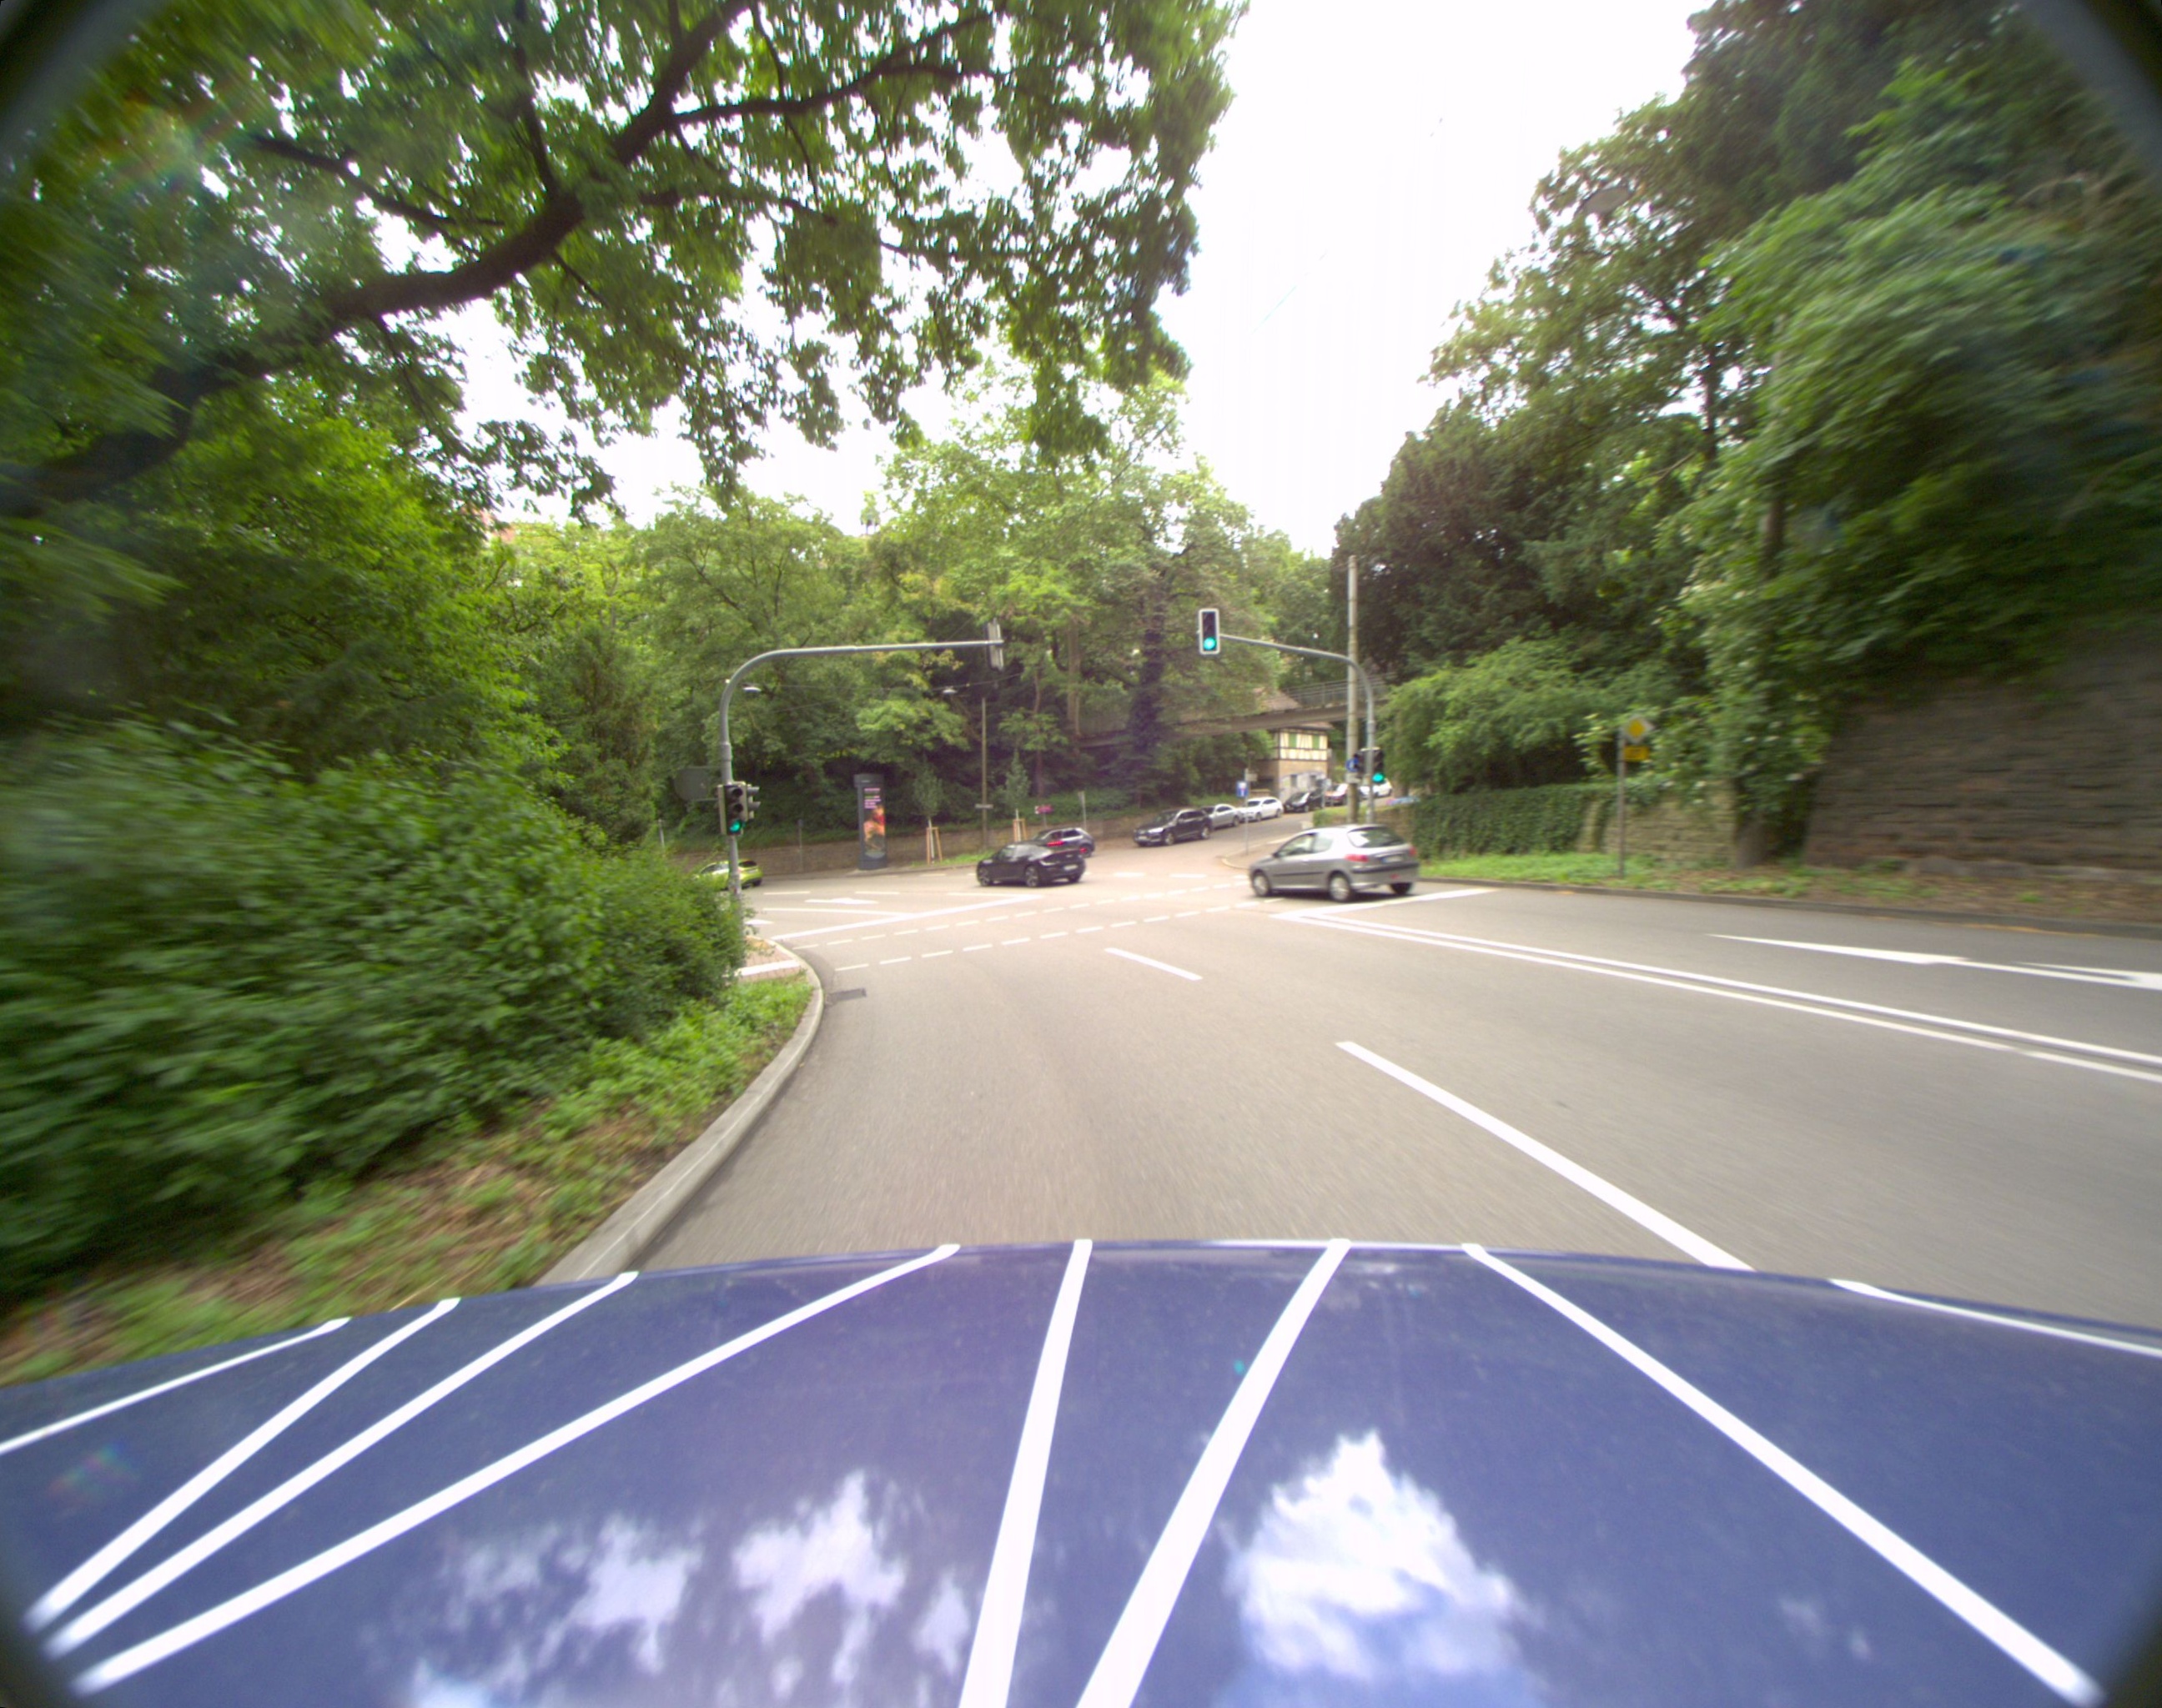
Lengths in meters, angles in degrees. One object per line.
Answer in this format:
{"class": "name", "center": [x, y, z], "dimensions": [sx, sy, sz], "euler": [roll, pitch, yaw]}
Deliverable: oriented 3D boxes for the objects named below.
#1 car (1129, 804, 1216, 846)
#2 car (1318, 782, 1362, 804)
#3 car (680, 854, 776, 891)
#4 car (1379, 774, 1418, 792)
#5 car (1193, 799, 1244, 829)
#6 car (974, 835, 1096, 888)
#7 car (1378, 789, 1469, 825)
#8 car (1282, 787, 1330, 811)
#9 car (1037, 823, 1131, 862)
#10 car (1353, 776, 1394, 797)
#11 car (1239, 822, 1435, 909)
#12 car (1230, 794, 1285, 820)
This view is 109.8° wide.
{"class": "car", "center": [4.788, -1.523, 39.369], "dimensions": [4.548, 1.676, 1.803], "euler": [-10, 7, -41]}
{"class": "car", "center": [19.656, -4.609, 57.602], "dimensions": [1.597, 1.323, 3.917], "euler": [3, 10, 45]}
{"class": "car", "center": [-17.179, 0.901, 37.092], "dimensions": [3.894, 1.415, 1.559], "euler": [-4, 4, 7]}
{"class": "car", "center": [26.748, -5.970, 63.978], "dimensions": [3.645, 1.222, 1.589], "euler": [-10, 8, -40]}
{"class": "car", "center": [8.456, -2.466, 46.654], "dimensions": [1.501, 1.441, 3.269], "euler": [3, 11, 43]}
{"class": "car", "center": [-1.668, 0.256, 25.973], "dimensions": [1.638, 1.535, 4.386], "euler": [-8, 4, -42]}
{"class": "car", "center": [17.700, -2.411, 39.289], "dimensions": [3.988, 1.544, 1.778], "euler": [0, 7, 35]}
{"class": "car", "center": [16.097, -3.910, 54.165], "dimensions": [1.597, 1.323, 3.917], "euler": [3, 10, 45]}
{"class": "car", "center": [0.167, -0.583, 35.974], "dimensions": [4.003, 1.351, 1.749], "euler": [-8, 6, -26]}
{"class": "car", "center": [23.536, -5.467, 61.150], "dimensions": [1.597, 1.323, 3.916], "euler": [3, 10, 45]}
{"class": "car", "center": [4.970, 0.187, 15.300], "dimensions": [1.613, 1.410, 3.747], "euler": [-6, 2, -22]}
{"class": "car", "center": [11.739, -3.140, 50.409], "dimensions": [1.624, 1.323, 4.028], "euler": [3, 10, 45]}
